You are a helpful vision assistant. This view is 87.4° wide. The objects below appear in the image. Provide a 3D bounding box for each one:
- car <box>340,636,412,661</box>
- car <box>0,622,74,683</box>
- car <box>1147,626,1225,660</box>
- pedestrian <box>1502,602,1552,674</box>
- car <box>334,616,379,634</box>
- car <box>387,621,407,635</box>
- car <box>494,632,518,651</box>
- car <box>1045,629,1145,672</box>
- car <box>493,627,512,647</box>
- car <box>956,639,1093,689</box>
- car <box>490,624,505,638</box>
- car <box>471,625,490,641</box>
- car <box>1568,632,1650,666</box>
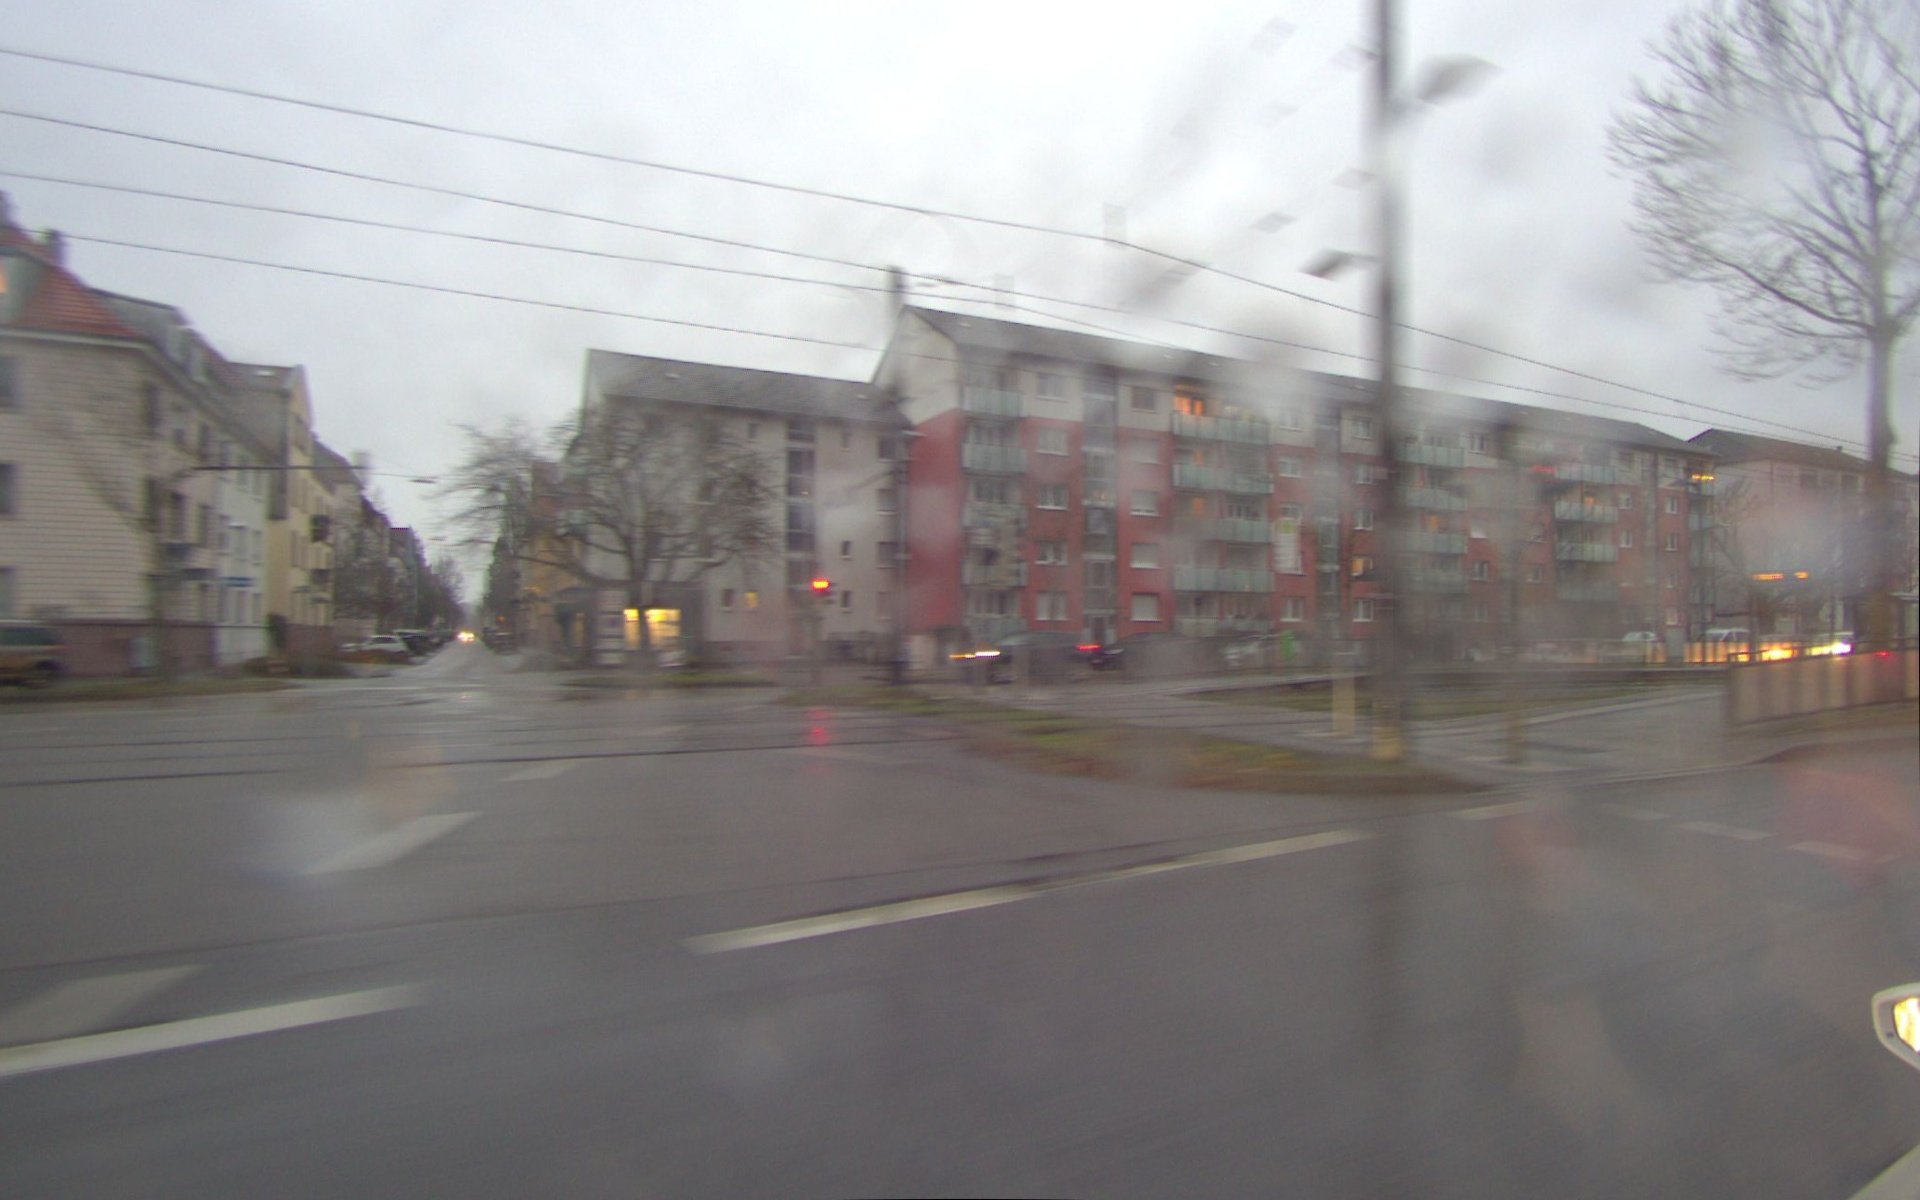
[{"bbox_3d":[-36.288,3.002,62.427,1.532,1.456,3.538,1,-1,35],"label":"car"},{"bbox_3d":[-21.672,1.136,21.570,1.415,1.272,4.002,2,-1,7],"label":"car"},{"bbox_3d":[11.208,2.135,49.894,3.454,1.516,1.706,2,-1,-25],"label":"car"},{"bbox_3d":[16.709,1.108,29.619,1.118,2.040,0.962,2,-1,21],"label":"pedestrian"},{"bbox_3d":[-53.943,2.221,89.790,3.377,1.456,1.417,2,-1,-32],"label":"car"},{"bbox_3d":[-79.129,3.966,141.253,1.973,1.806,3.976,2,-1,-24],"label":"car"},{"bbox_3d":[-34.959,3.158,77.372,1.540,1.304,3.252,2,-1,-23],"label":"car"},{"bbox_3d":[5.139,1.922,38.733,1.693,1.435,3.966,2,-1,-31],"label":"car"},{"bbox_3d":[-45.763,3.718,100.457,1.540,1.860,3.484,2,-1,-23],"label":"car"},{"bbox_3d":[1.972,1.952,30.612,3.950,1.386,1.510,2,-1,-28],"label":"car"},{"bbox_3d":[-67.772,4.510,147.212,1.973,1.806,3.976,2,-1,-24],"label":"car"},{"bbox_3d":[-58.766,3.982,123.095,1.973,1.806,3.976,2,-1,-24],"label":"car"},{"bbox_3d":[33.073,2.494,51.182,4.098,1.564,1.718,2,-1,-28],"label":"car"}]
